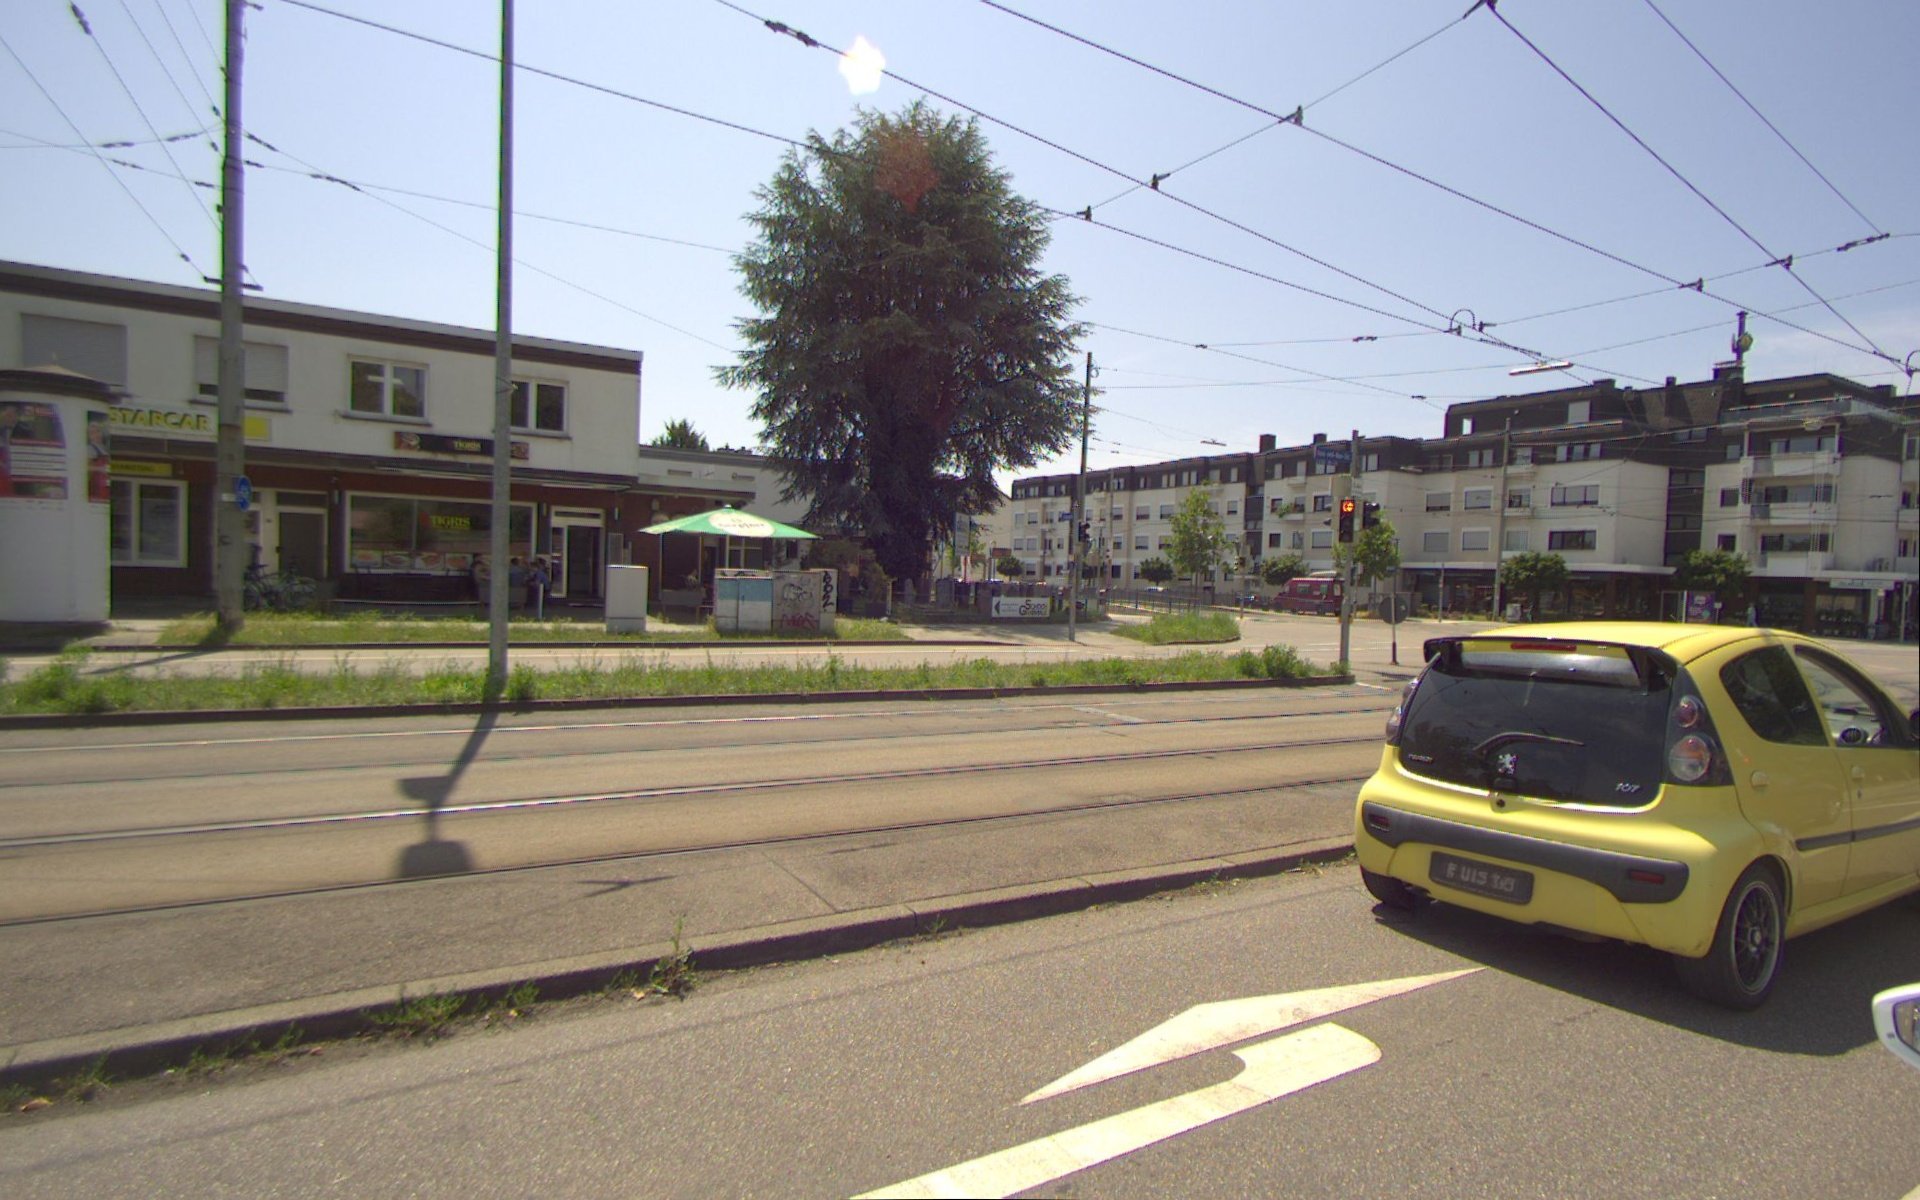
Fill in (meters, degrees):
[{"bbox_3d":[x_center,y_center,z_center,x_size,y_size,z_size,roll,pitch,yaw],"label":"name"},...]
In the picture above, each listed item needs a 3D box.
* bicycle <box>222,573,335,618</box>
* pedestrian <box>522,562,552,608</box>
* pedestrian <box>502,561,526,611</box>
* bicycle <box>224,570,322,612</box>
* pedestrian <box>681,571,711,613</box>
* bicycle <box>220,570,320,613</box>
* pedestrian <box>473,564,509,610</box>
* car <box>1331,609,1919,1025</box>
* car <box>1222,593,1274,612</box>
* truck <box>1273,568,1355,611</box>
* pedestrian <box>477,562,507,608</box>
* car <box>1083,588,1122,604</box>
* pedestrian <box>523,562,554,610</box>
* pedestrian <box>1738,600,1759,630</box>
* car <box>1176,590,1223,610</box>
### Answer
[{"bbox_3d":[-14.383,-0.080,21.264,1.936,0.859,0.599,2,4,-31],"label":"bicycle"},{"bbox_3d":[-11.424,-0.410,27.112,0.666,1.225,0.514,1,2,-30],"label":"pedestrian"},{"bbox_3d":[-11.390,-0.352,25.665,0.486,1.255,0.572,1,2,-31],"label":"pedestrian"},{"bbox_3d":[-15.472,-0.193,22.661,1.767,0.859,0.525,2,4,-31],"label":"bicycle"},{"bbox_3d":[-7.498,-0.227,28.525,0.666,1.142,0.514,1,2,-30],"label":"pedestrian"},{"bbox_3d":[-15.193,-0.183,22.168,1.767,0.859,0.525,2,4,-31],"label":"bicycle"},{"bbox_3d":[-12.169,-0.333,26.054,0.801,1.142,0.561,1,2,-30],"label":"pedestrian"},{"bbox_3d":[3.758,0.811,5.137,3.614,1.440,1.607,2,-1,-31],"label":"car"},{"bbox_3d":[21.050,0.161,73.498,1.571,1.235,3.553,1,1,-29],"label":"car"},{"bbox_3d":[23.933,-0.760,68.108,2.161,2.734,5.002,1,1,-29],"label":"truck"},{"bbox_3d":[-12.462,-0.405,26.725,0.666,1.179,0.514,1,2,-30],"label":"pedestrian"},{"bbox_3d":[12.382,-0.339,87.337,1.571,1.257,3.553,1,1,-29],"label":"car"},{"bbox_3d":[-11.141,-0.372,26.565,0.666,1.215,0.514,1,2,-30],"label":"pedestrian"},{"bbox_3d":[46.507,0.903,59.263,0.793,1.719,0.700,3,2,32],"label":"pedestrian"},{"bbox_3d":[18.434,-0.002,77.438,1.571,1.452,3.553,1,1,-29],"label":"car"}]
